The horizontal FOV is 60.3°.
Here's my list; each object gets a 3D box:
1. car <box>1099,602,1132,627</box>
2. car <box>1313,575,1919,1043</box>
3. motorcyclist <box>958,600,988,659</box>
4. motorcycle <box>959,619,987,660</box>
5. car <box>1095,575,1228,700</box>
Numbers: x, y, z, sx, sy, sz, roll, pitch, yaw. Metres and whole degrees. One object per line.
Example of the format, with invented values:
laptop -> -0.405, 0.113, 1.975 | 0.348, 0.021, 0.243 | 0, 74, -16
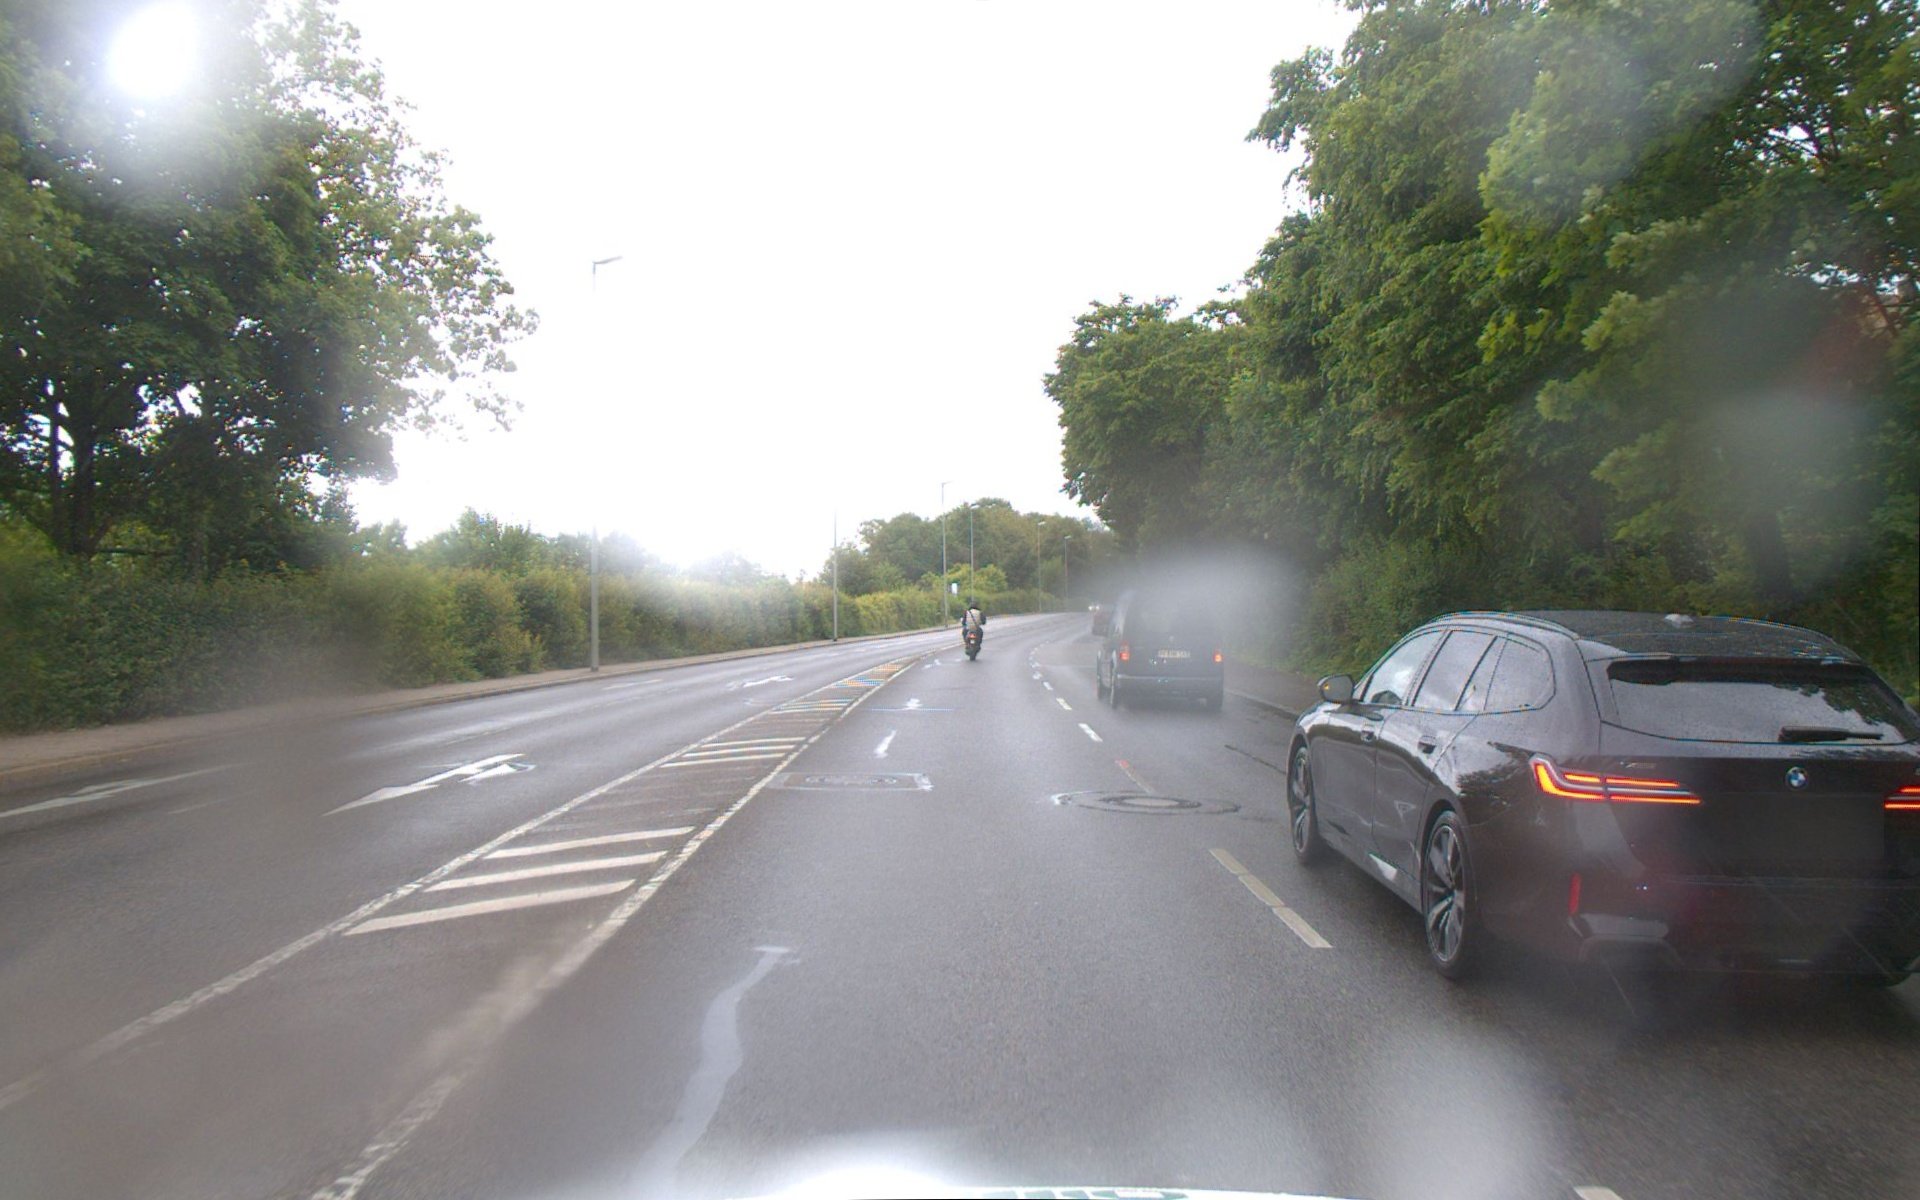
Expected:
car -> 10.279, 0.937, 109.125 | 1.972, 1.440, 4.490 | 0, 1, 8
car -> 2.888, 0.731, 7.462 | 1.728, 1.563, 3.672 | 1, -1, -1
motorcyclist -> 0.384, 0.858, 47.674 | 0.827, 1.676, 0.468 | 0, 1, 3
motorcycle -> 0.374, 1.131, 47.735 | 0.726, 1.139, 1.427 | 0, 1, 3
car -> 3.169, 0.529, 26.664 | 1.730, 1.841, 3.906 | 0, 1, 1
